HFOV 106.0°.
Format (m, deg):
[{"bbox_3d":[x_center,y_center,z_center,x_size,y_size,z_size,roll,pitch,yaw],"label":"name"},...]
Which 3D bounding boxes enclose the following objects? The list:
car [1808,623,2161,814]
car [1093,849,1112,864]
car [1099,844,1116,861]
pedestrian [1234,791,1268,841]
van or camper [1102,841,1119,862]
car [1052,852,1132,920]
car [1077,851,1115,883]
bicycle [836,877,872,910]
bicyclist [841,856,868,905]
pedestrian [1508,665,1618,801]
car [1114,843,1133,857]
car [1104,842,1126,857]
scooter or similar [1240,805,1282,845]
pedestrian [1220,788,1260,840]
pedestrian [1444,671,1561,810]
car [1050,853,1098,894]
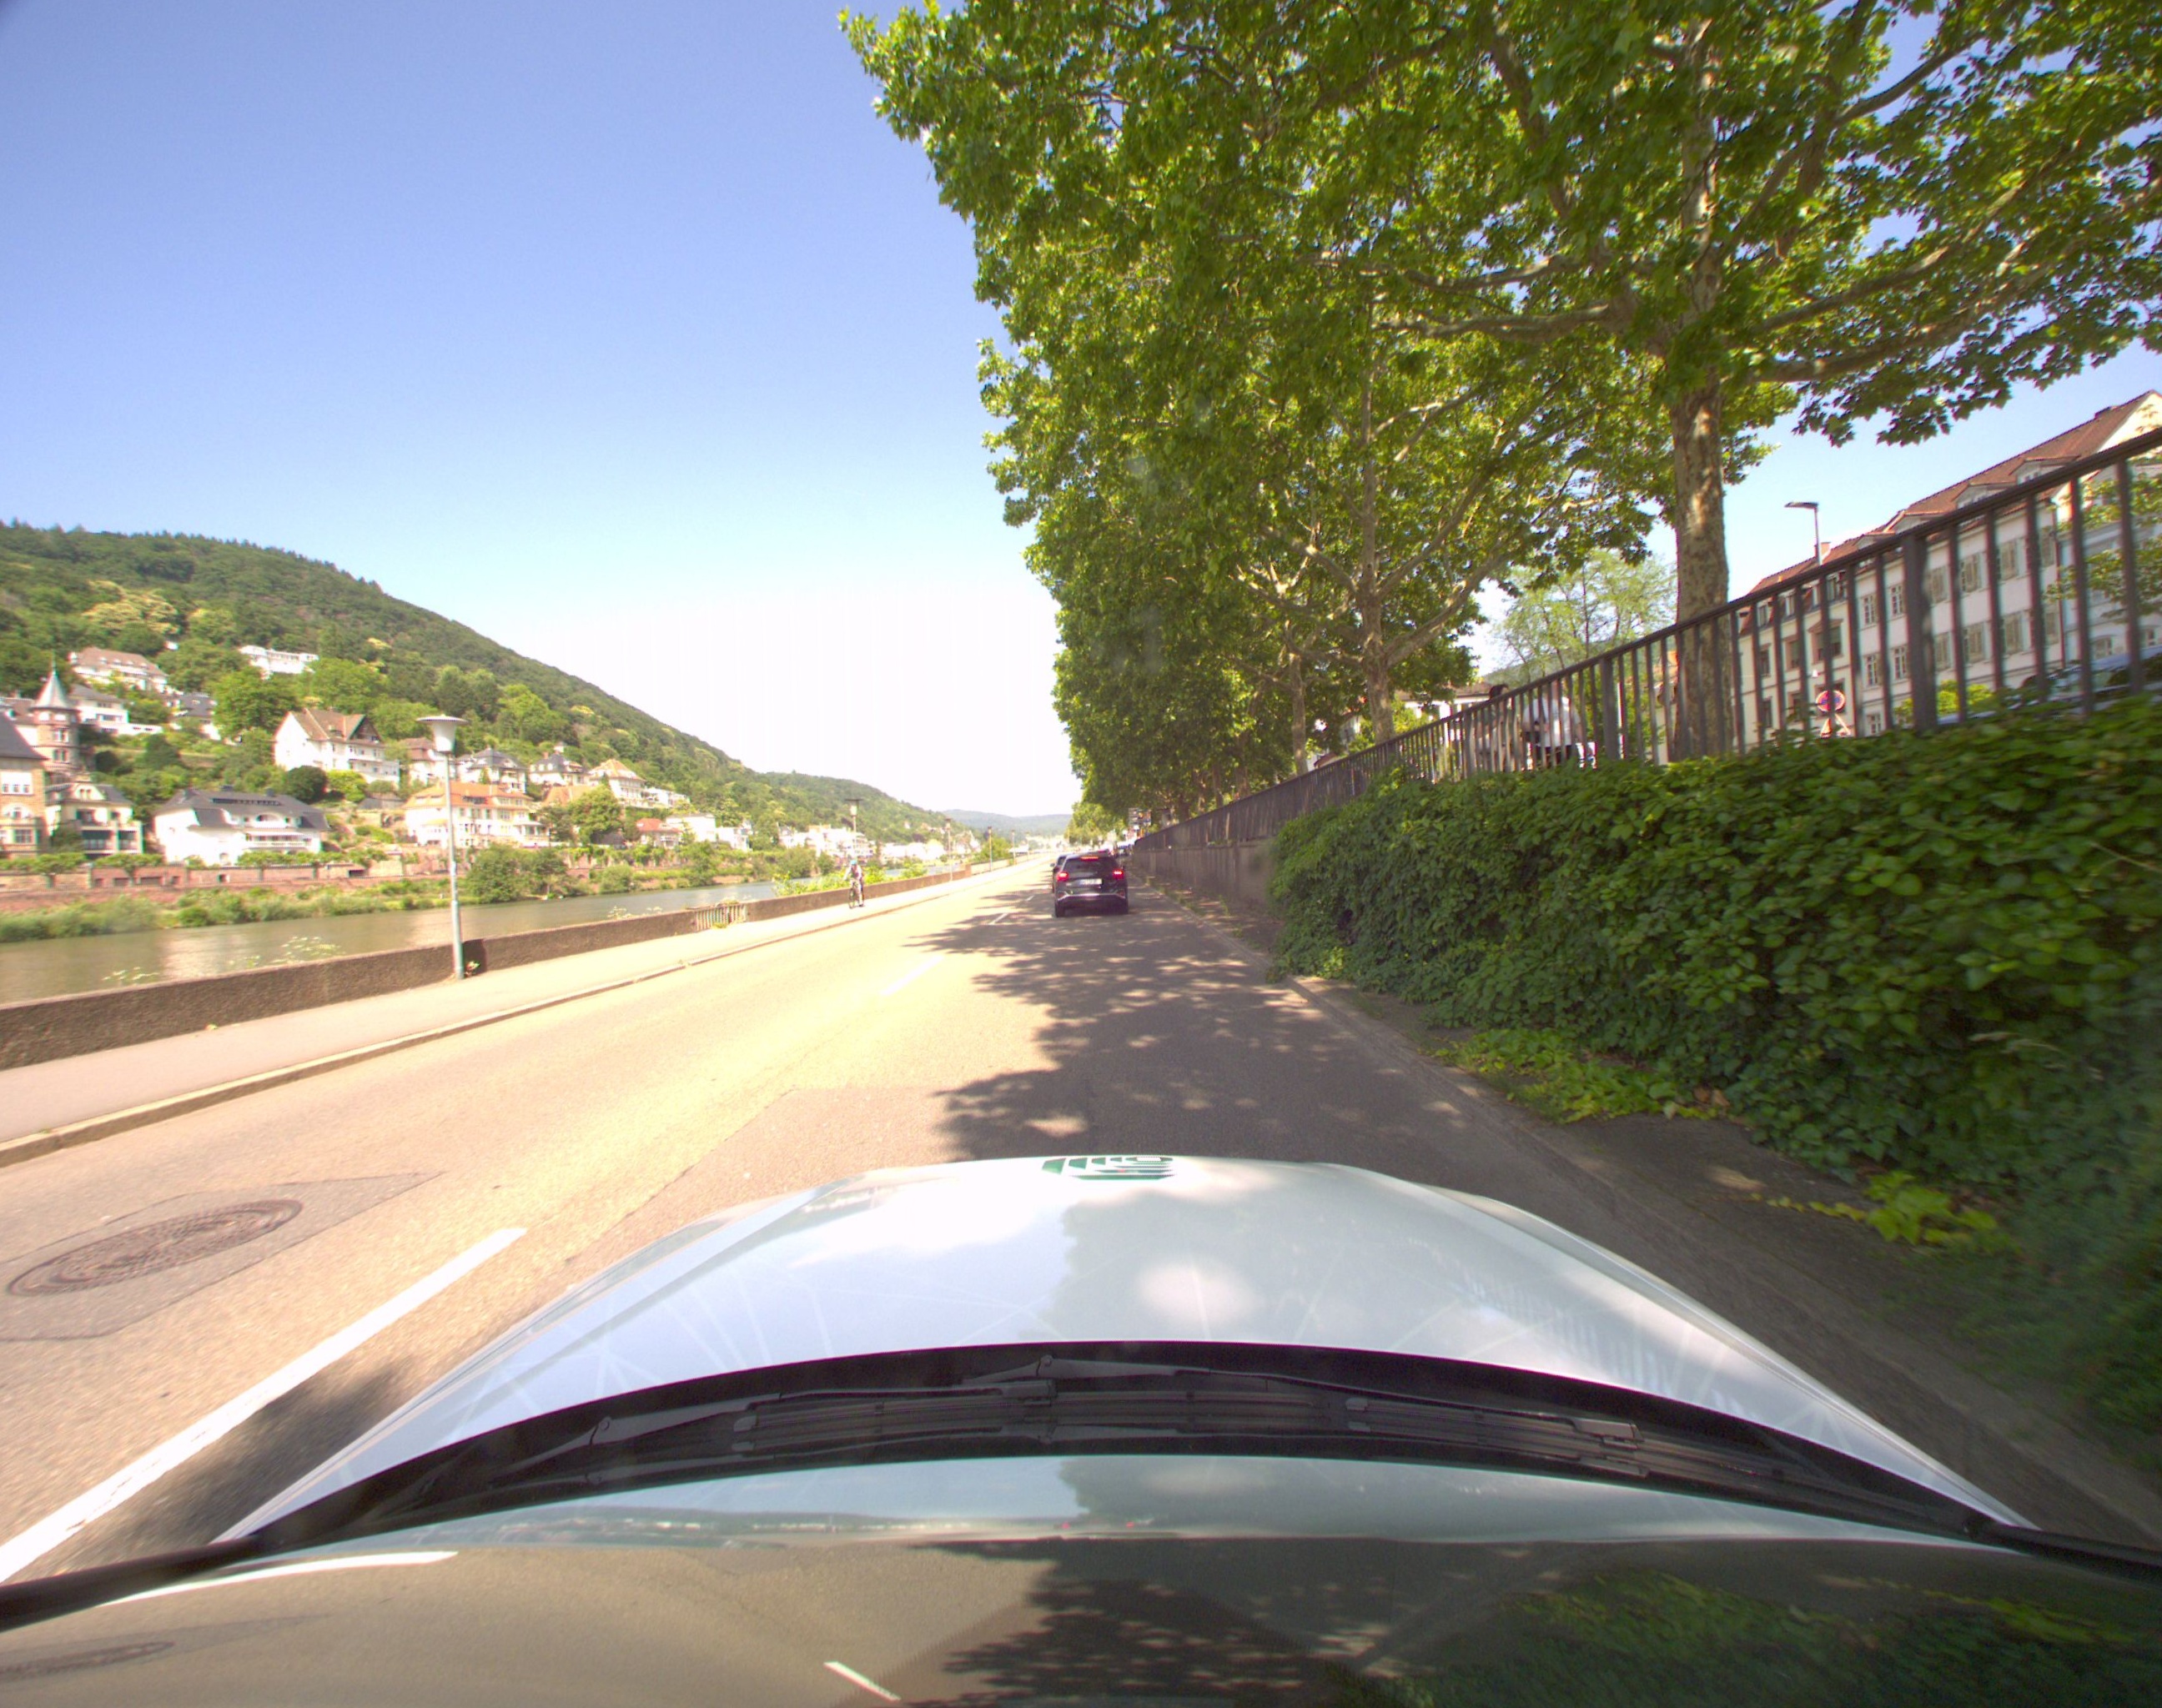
[{"bbox_3d":[8.609,-1.166,6.863,3.511,1.235,1.515,-6,0,1],"label":"car"},{"bbox_3d":[2.279,0.252,87.188,1.822,1.444,4.000,-2,0,0],"label":"car"},{"bbox_3d":[3.528,-0.217,109.740,1.987,2.169,4.000,-3,0,0],"label":"car"},{"bbox_3d":[5.046,-1.122,24.253,0.678,1.365,0.989,-6,0,0],"label":"pedestrian"},{"bbox_3d":[4.373,-0.357,118.850,2.301,2.847,4.248,-3,0,2],"label":"van or camper"},{"bbox_3d":[0.267,0.740,20.940,1.822,1.486,4.000,-2,0,0],"label":"car"},{"bbox_3d":[0.737,0.624,42.187,1.822,1.486,4.000,-2,0,0],"label":"car"},{"bbox_3d":[-8.021,1.377,28.866,0.630,1.012,1.986,-3,0,0],"label":"bicycle"},{"bbox_3d":[-7.994,0.938,28.786,0.635,1.673,0.871,-3,0,0],"label":"bicyclist"},{"bbox_3d":[5.423,-1.331,9.202,0.642,1.365,0.794,-6,0,-1],"label":"pedestrian"},{"bbox_3d":[7.216,-0.671,139.075,2.653,2.013,5.824,-6,0,0],"label":"car"},{"bbox_3d":[5.357,-0.655,129.423,3.088,2.013,5.824,-6,0,0],"label":"car"},{"bbox_3d":[5.121,-0.819,23.265,0.852,1.026,1.107,-6,0,0],"label":"scooter or similar"},{"bbox_3d":[5.186,-1.293,26.656,0.934,1.579,1.027,-6,0,-1],"label":"pedestrian"},{"bbox_3d":[4.660,-1.231,9.068,0.751,1.365,0.814,-6,0,-1],"label":"pedestrian"},{"bbox_3d":[-0.257,0.742,33.391,1.822,1.511,4.000,-2,0,0],"label":"car"}]
